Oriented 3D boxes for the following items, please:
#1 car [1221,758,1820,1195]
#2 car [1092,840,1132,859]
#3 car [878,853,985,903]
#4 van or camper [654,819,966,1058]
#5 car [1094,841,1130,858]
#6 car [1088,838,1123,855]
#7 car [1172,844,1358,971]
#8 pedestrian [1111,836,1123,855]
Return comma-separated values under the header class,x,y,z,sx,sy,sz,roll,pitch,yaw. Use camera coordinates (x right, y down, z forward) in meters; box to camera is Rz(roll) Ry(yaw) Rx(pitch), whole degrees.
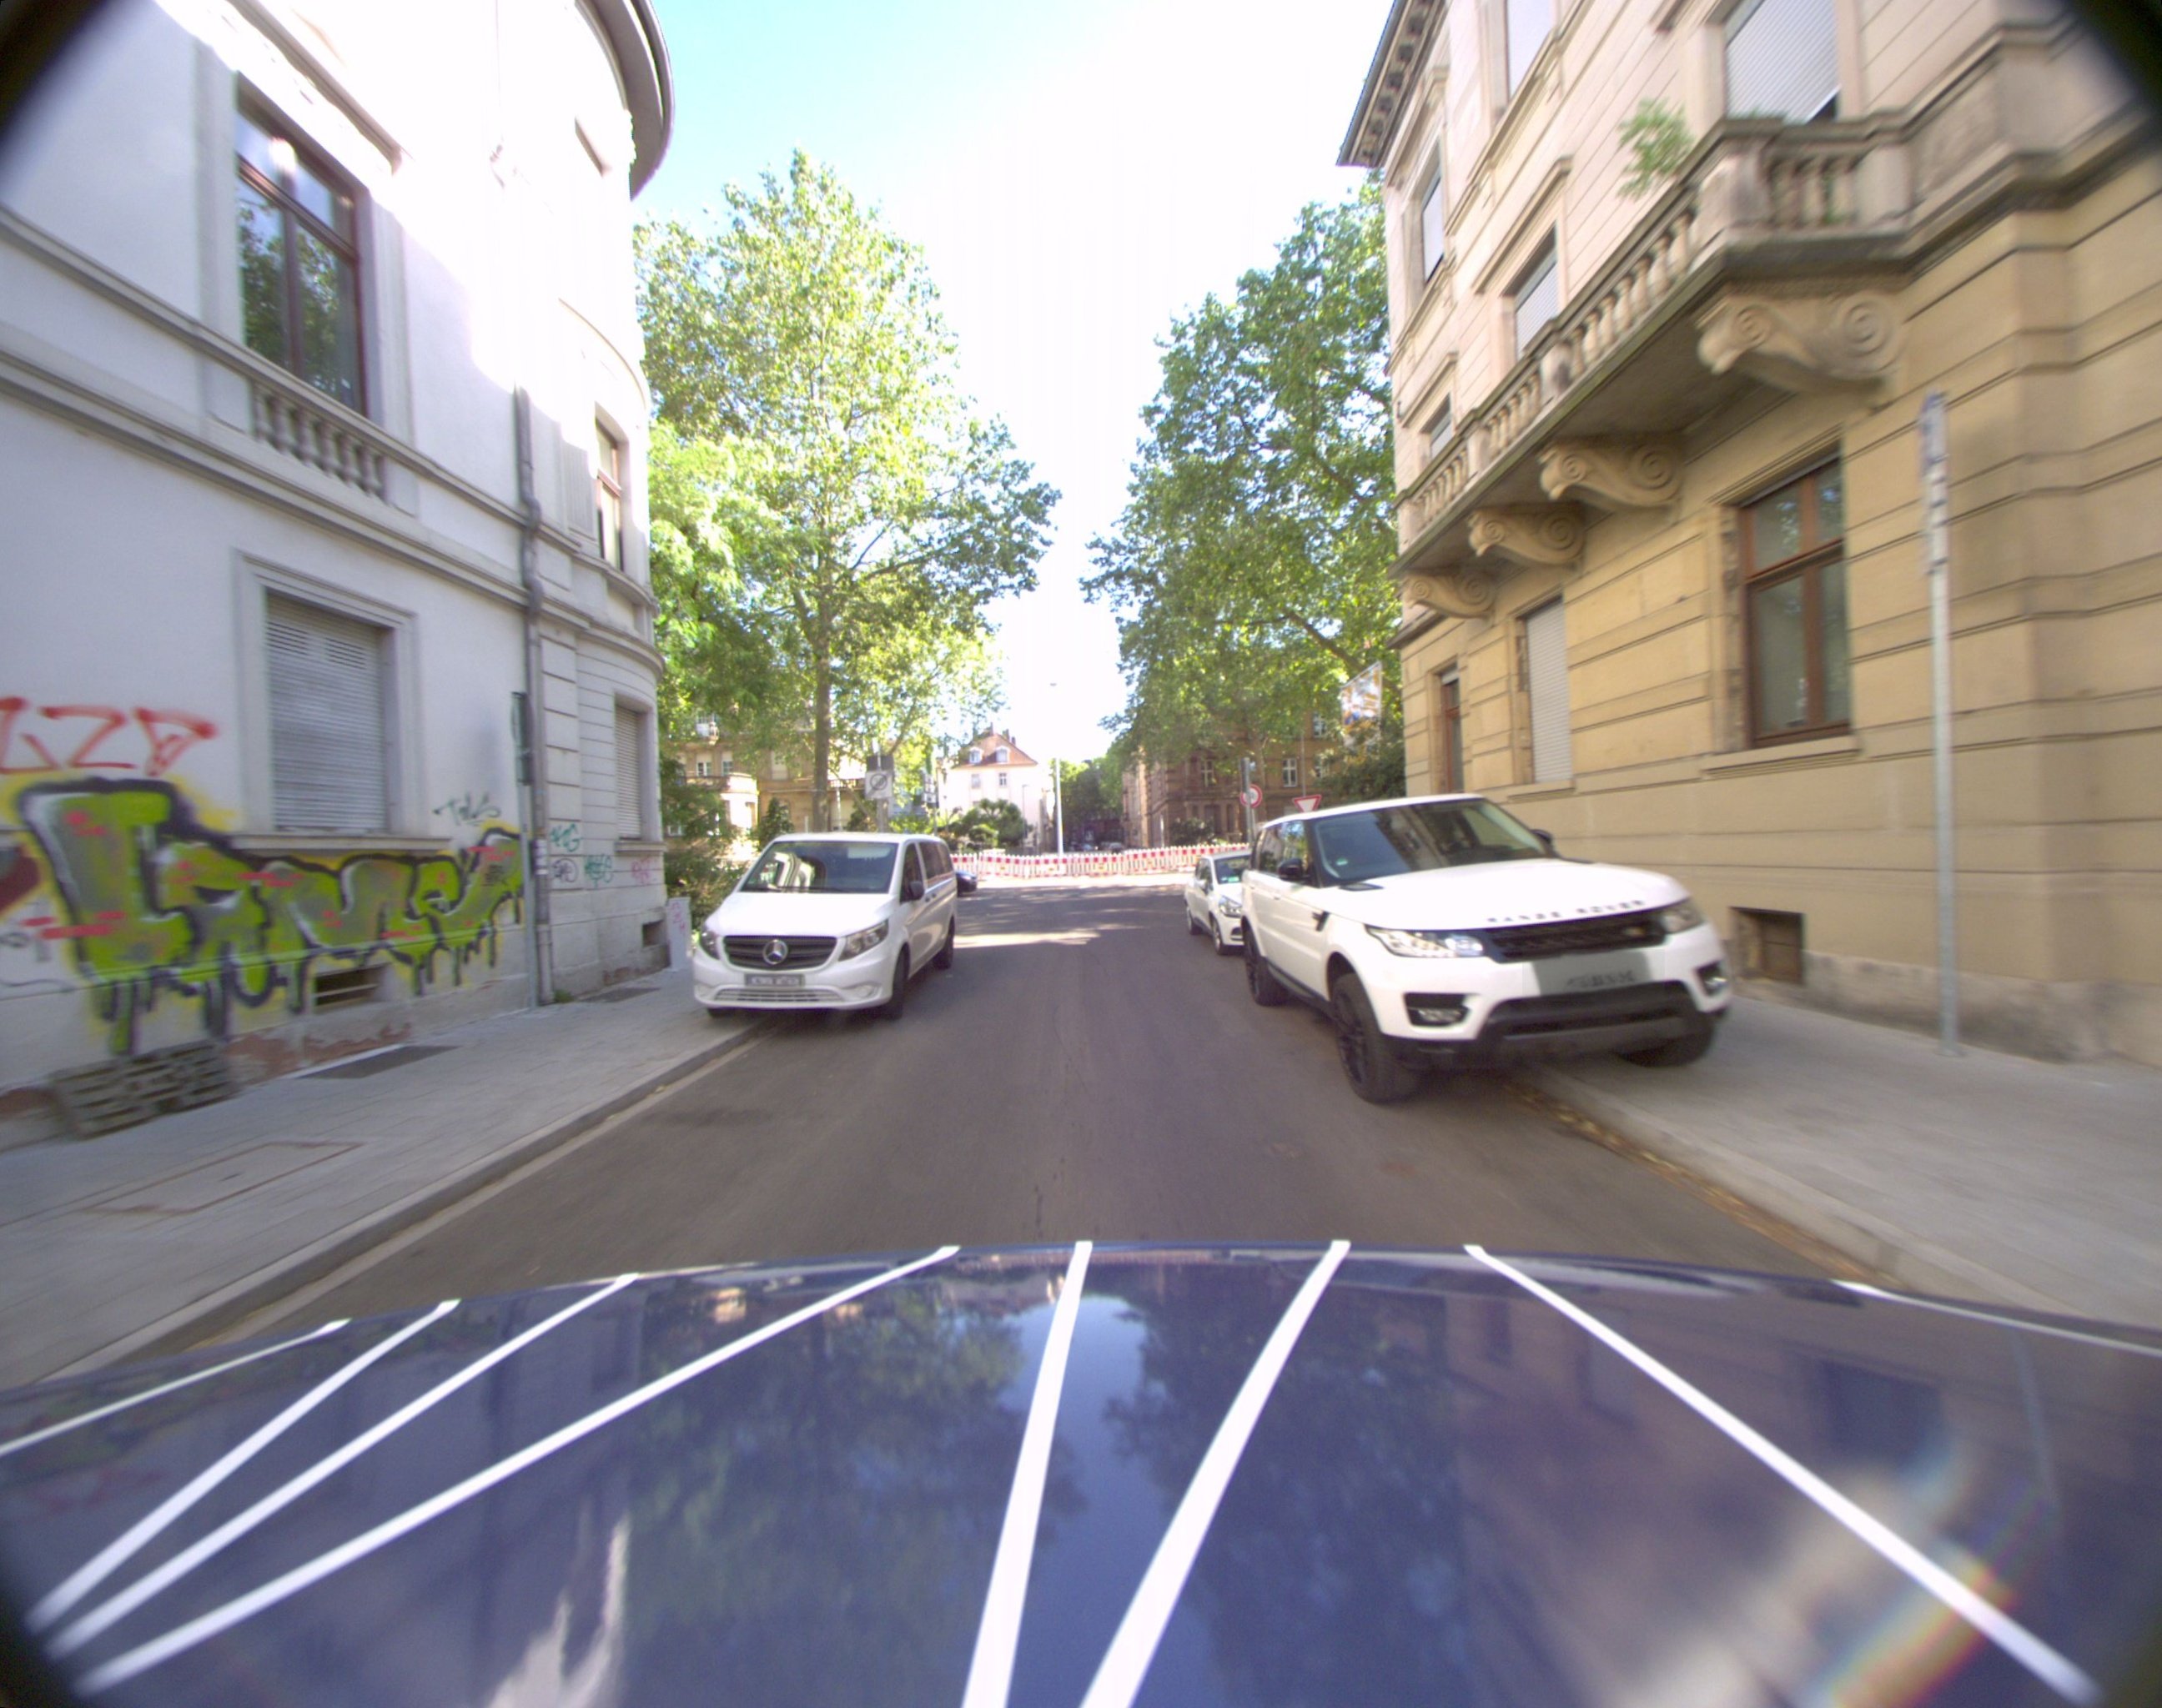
class,x,y,z,sx,sy,sz,roll,pitch,yaw
car,2.500,0.565,5.868,2.027,2.002,4.543,-2,1,1
car,3.026,-0.486,75.237,3.800,1.726,1.622,-2,1,0
car,-4.997,0.796,25.673,3.290,1.447,1.492,-3,1,-3
van or camper,-2.726,0.728,9.095,1.899,2.002,5.030,-2,0,-1
car,3.251,-0.458,80.741,3.677,1.640,1.600,-2,1,0
car,2.739,-0.862,85.598,3.800,1.726,1.622,-2,1,0
car,2.705,0.689,12.129,1.872,1.552,3.941,-4,1,-1
pedestrian,3.286,-0.788,69.633,0.761,1.651,0.826,-3,1,-27
